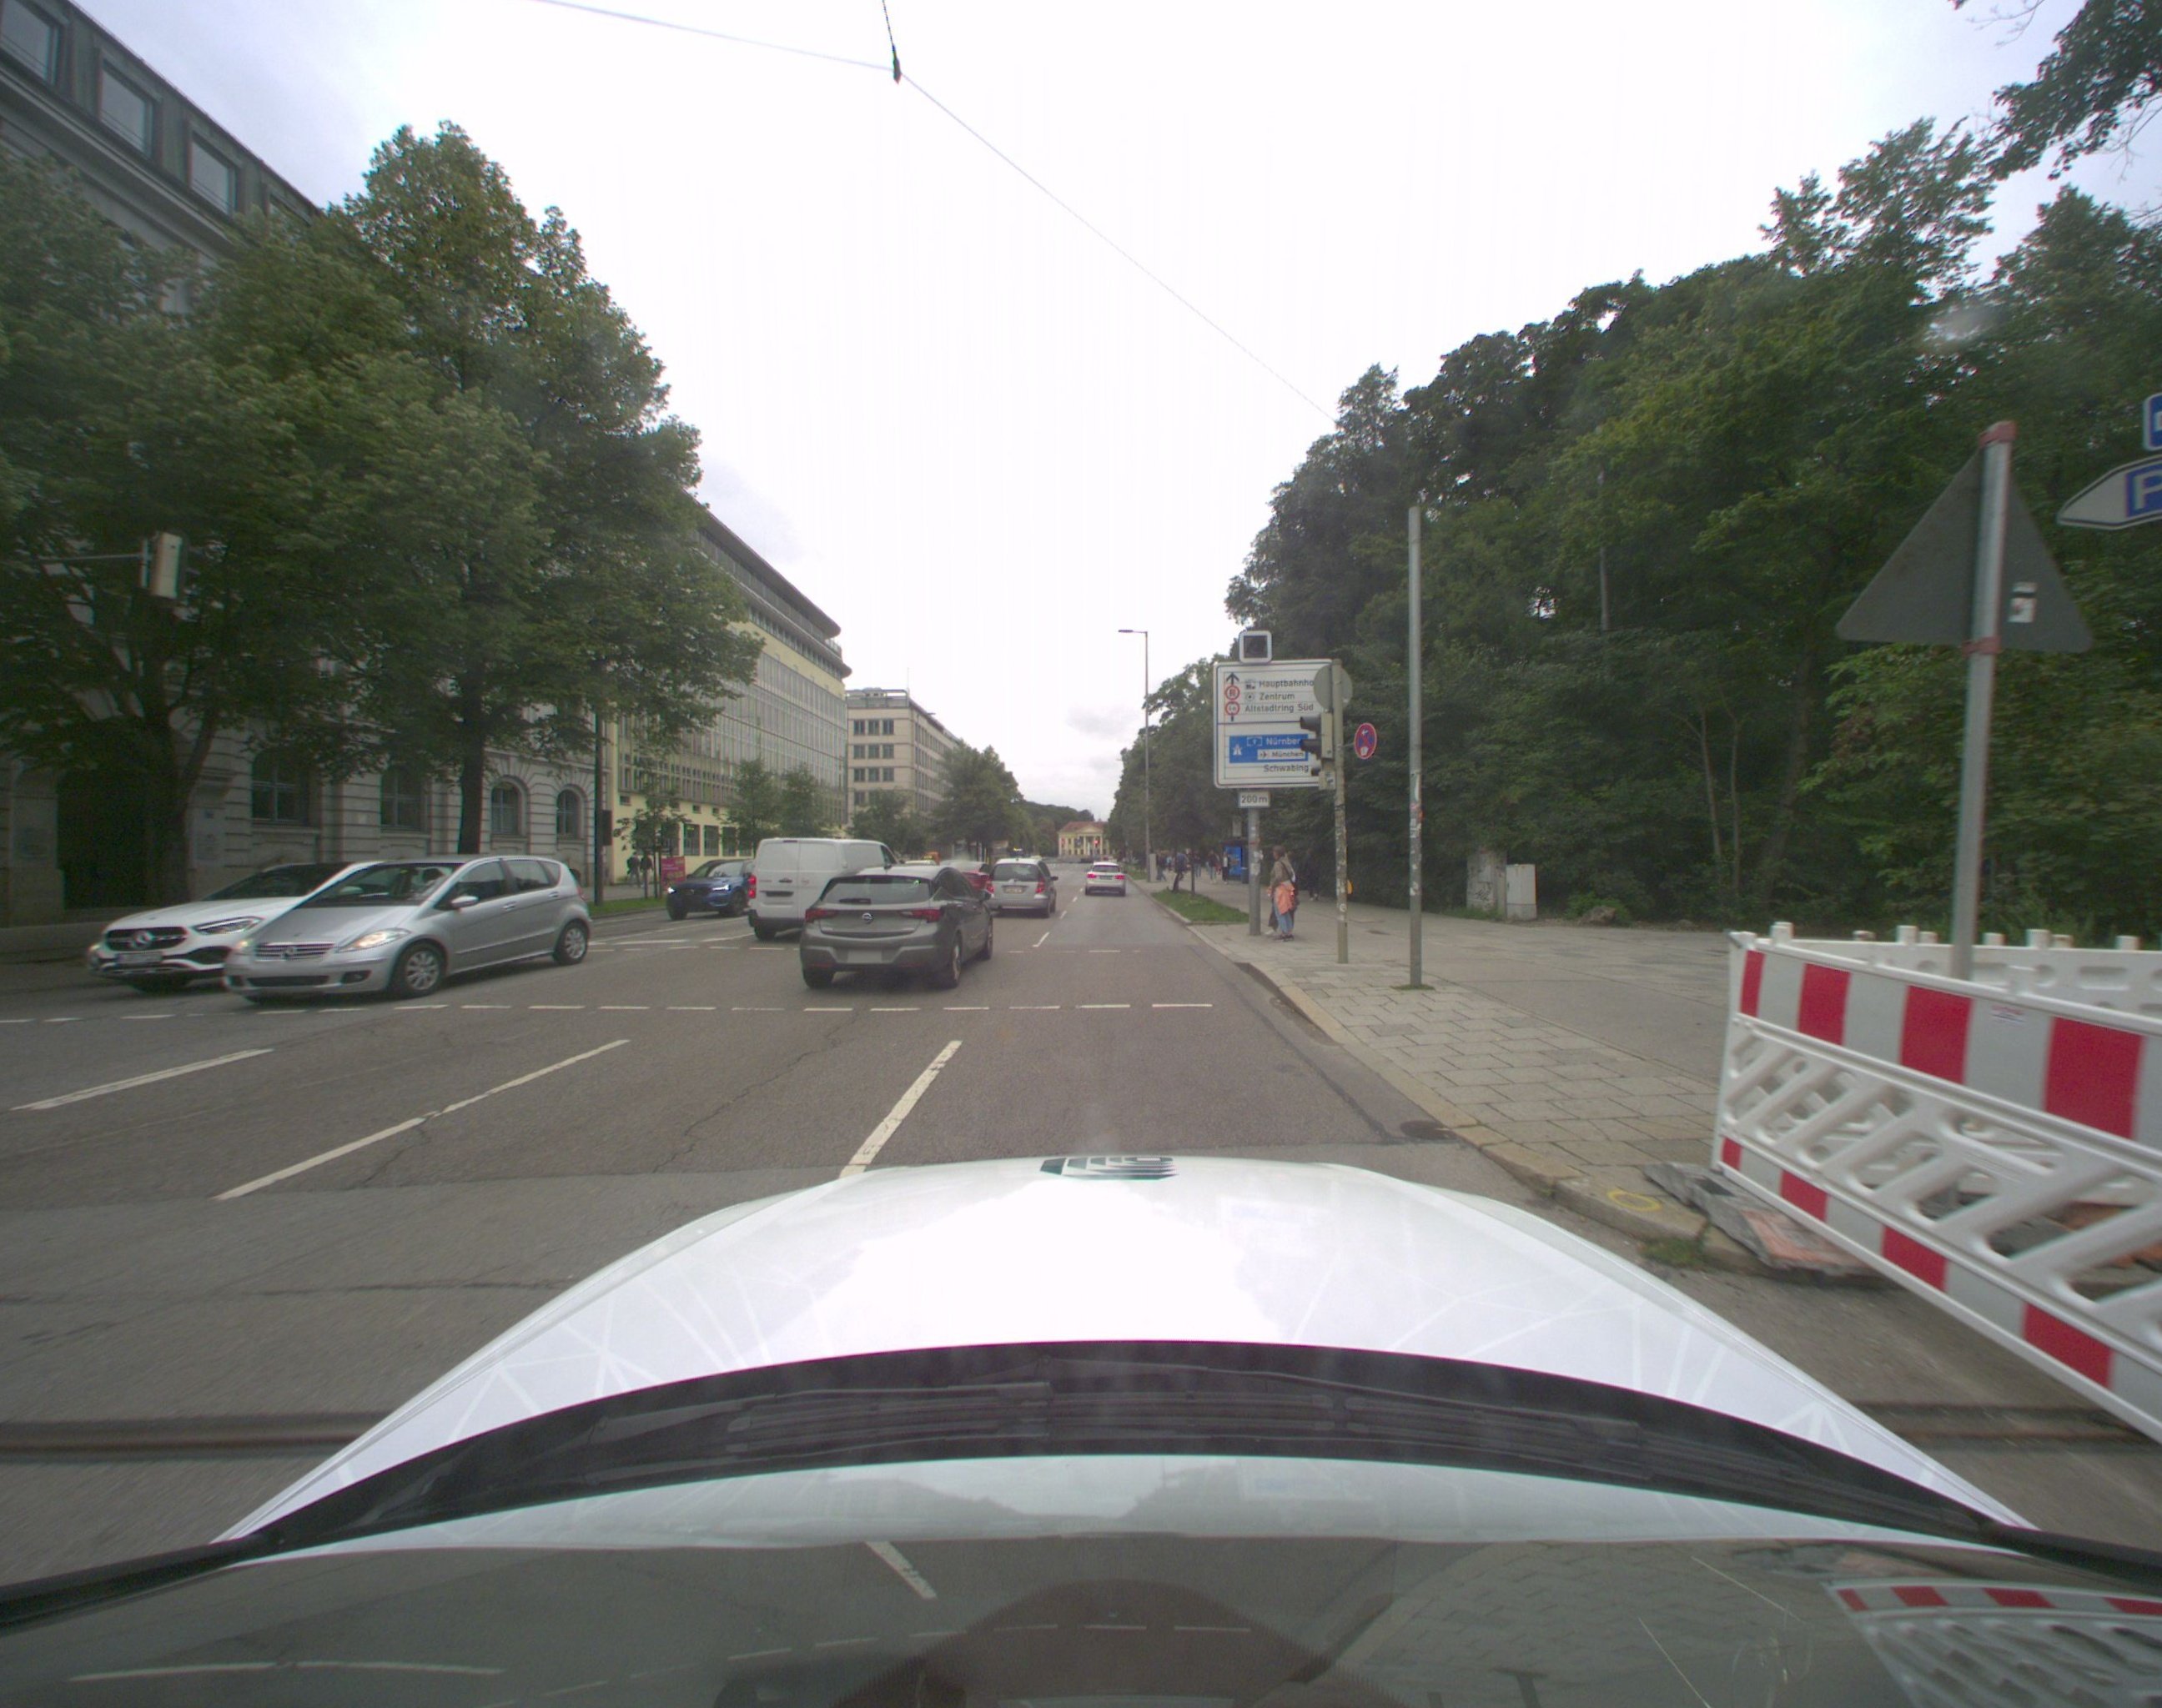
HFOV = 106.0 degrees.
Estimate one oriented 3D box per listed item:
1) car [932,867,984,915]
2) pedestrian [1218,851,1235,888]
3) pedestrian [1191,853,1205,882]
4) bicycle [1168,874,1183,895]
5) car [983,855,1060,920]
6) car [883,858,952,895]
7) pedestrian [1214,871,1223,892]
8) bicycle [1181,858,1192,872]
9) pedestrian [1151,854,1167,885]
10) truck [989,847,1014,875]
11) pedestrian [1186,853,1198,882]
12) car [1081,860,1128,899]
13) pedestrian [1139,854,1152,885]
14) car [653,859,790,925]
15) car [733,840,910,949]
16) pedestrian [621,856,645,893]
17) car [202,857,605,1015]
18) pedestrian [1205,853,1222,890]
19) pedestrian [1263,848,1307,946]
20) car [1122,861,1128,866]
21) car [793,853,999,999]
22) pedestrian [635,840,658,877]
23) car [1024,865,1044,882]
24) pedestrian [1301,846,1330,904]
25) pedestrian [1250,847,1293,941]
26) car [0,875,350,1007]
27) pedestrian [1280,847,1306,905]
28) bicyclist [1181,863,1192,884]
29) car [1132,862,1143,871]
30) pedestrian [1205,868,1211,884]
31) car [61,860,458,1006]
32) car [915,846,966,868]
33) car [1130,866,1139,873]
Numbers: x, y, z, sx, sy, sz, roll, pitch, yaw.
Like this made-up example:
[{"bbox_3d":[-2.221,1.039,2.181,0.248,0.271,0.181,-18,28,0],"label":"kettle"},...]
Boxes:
[{"bbox_3d":[-4.626,1.343,30.736,1.778,1.654,3.988,1,-1,-8],"label":"car"},{"bbox_3d":[7.609,0.809,42.710,0.705,1.915,0.957,1,-1,1],"label":"pedestrian"},{"bbox_3d":[7.402,0.825,51.579,0.705,1.808,0.950,1,-1,1],"label":"pedestrian"},{"bbox_3d":[3.927,1.252,33.963,0.491,0.794,1.890,1,0,2],"label":"bicycle"},{"bbox_3d":[-1.576,0.878,22.878,1.773,1.654,4.001,1,0,1],"label":"car"},{"bbox_3d":[-6.895,0.917,34.811,1.760,1.423,4.749,-2,0,2],"label":"car"},{"bbox_3d":[11.060,2.205,65.533,0.722,1.691,0.649,1,-1,6],"label":"pedestrian"},{"bbox_3d":[7.835,0.807,60.548,0.672,1.030,2.013,1,-1,2],"label":"bicycle"},{"bbox_3d":[4.906,0.975,51.293,0.795,1.881,0.547,0,-1,37],"label":"pedestrian"},{"bbox_3d":[-10.916,0.952,112.910,2.909,3.775,7.658,1,-1,-2],"label":"truck"},{"bbox_3d":[7.168,0.866,52.756,0.705,1.808,0.639,1,-1,1],"label":"pedestrian"},{"bbox_3d":[0.991,1.094,36.608,1.775,1.644,3.995,1,0,-3],"label":"car"},{"bbox_3d":[3.823,0.938,48.466,0.705,1.808,0.639,1,-1,1],"label":"pedestrian"},{"bbox_3d":[-10.126,1.002,23.347,1.833,1.655,4.352,-2,-1,2],"label":"car"},{"bbox_3d":[-4.968,0.733,16.434,1.891,1.847,4.956,0,-1,1],"label":"car"},{"bbox_3d":[-22.103,1.018,40.187,0.613,1.777,0.836,1,-1,2],"label":"pedestrian"},{"bbox_3d":[-7.973,0.834,10.164,1.628,1.571,3.947,-1,0,2],"label":"car"},{"bbox_3d":[6.930,0.896,42.672,0.705,1.915,0.957,1,-1,1],"label":"pedestrian"},{"bbox_3d":[3.771,0.775,15.077,0.608,1.761,0.634,-1,-1,-5],"label":"pedestrian"},{"bbox_3d":[12.399,2.792,230.920,1.717,1.323,4.031,0,1,2],"label":"car"},{"bbox_3d":[-2.208,0.794,10.819,1.704,1.552,4.001,1,0,1],"label":"car"},{"bbox_3d":[-21.441,0.231,40.167,0.613,1.777,0.836,1,-1,2],"label":"pedestrian"},{"bbox_3d":[-5.471,2.274,95.469,1.850,1.748,4.632,-2,0,2],"label":"car"},{"bbox_3d":[7.520,0.669,26.148,0.748,1.839,0.757,1,-1,2],"label":"pedestrian"},{"bbox_3d":[3.666,0.764,15.716,0.623,1.761,0.634,1,-1,-6],"label":"pedestrian"},{"bbox_3d":[-13.595,1.128,12.087,1.728,1.576,4.058,0,-1,2],"label":"car"},{"bbox_3d":[6.866,0.717,26.377,0.668,1.839,0.641,1,-1,2],"label":"pedestrian"},{"bbox_3d":[7.848,1.451,60.600,0.705,1.562,0.639,1,-1,1],"label":"bicyclist"},{"bbox_3d":[10.124,2.291,146.330,1.820,1.550,4.754,-1,-1,2],"label":"car"},{"bbox_3d":[10.262,1.790,65.999,0.455,1.326,0.649,1,-1,6],"label":"pedestrian"},{"bbox_3d":[-10.999,0.918,11.410,1.742,1.596,3.990,-2,0,-7],"label":"car"},{"bbox_3d":[-16.767,0.406,97.290,5.667,2.536,2.154,-1,-1,-3],"label":"car"},{"bbox_3d":[10.348,3.014,158.394,1.717,1.465,4.778,-1,-1,2],"label":"car"}]
